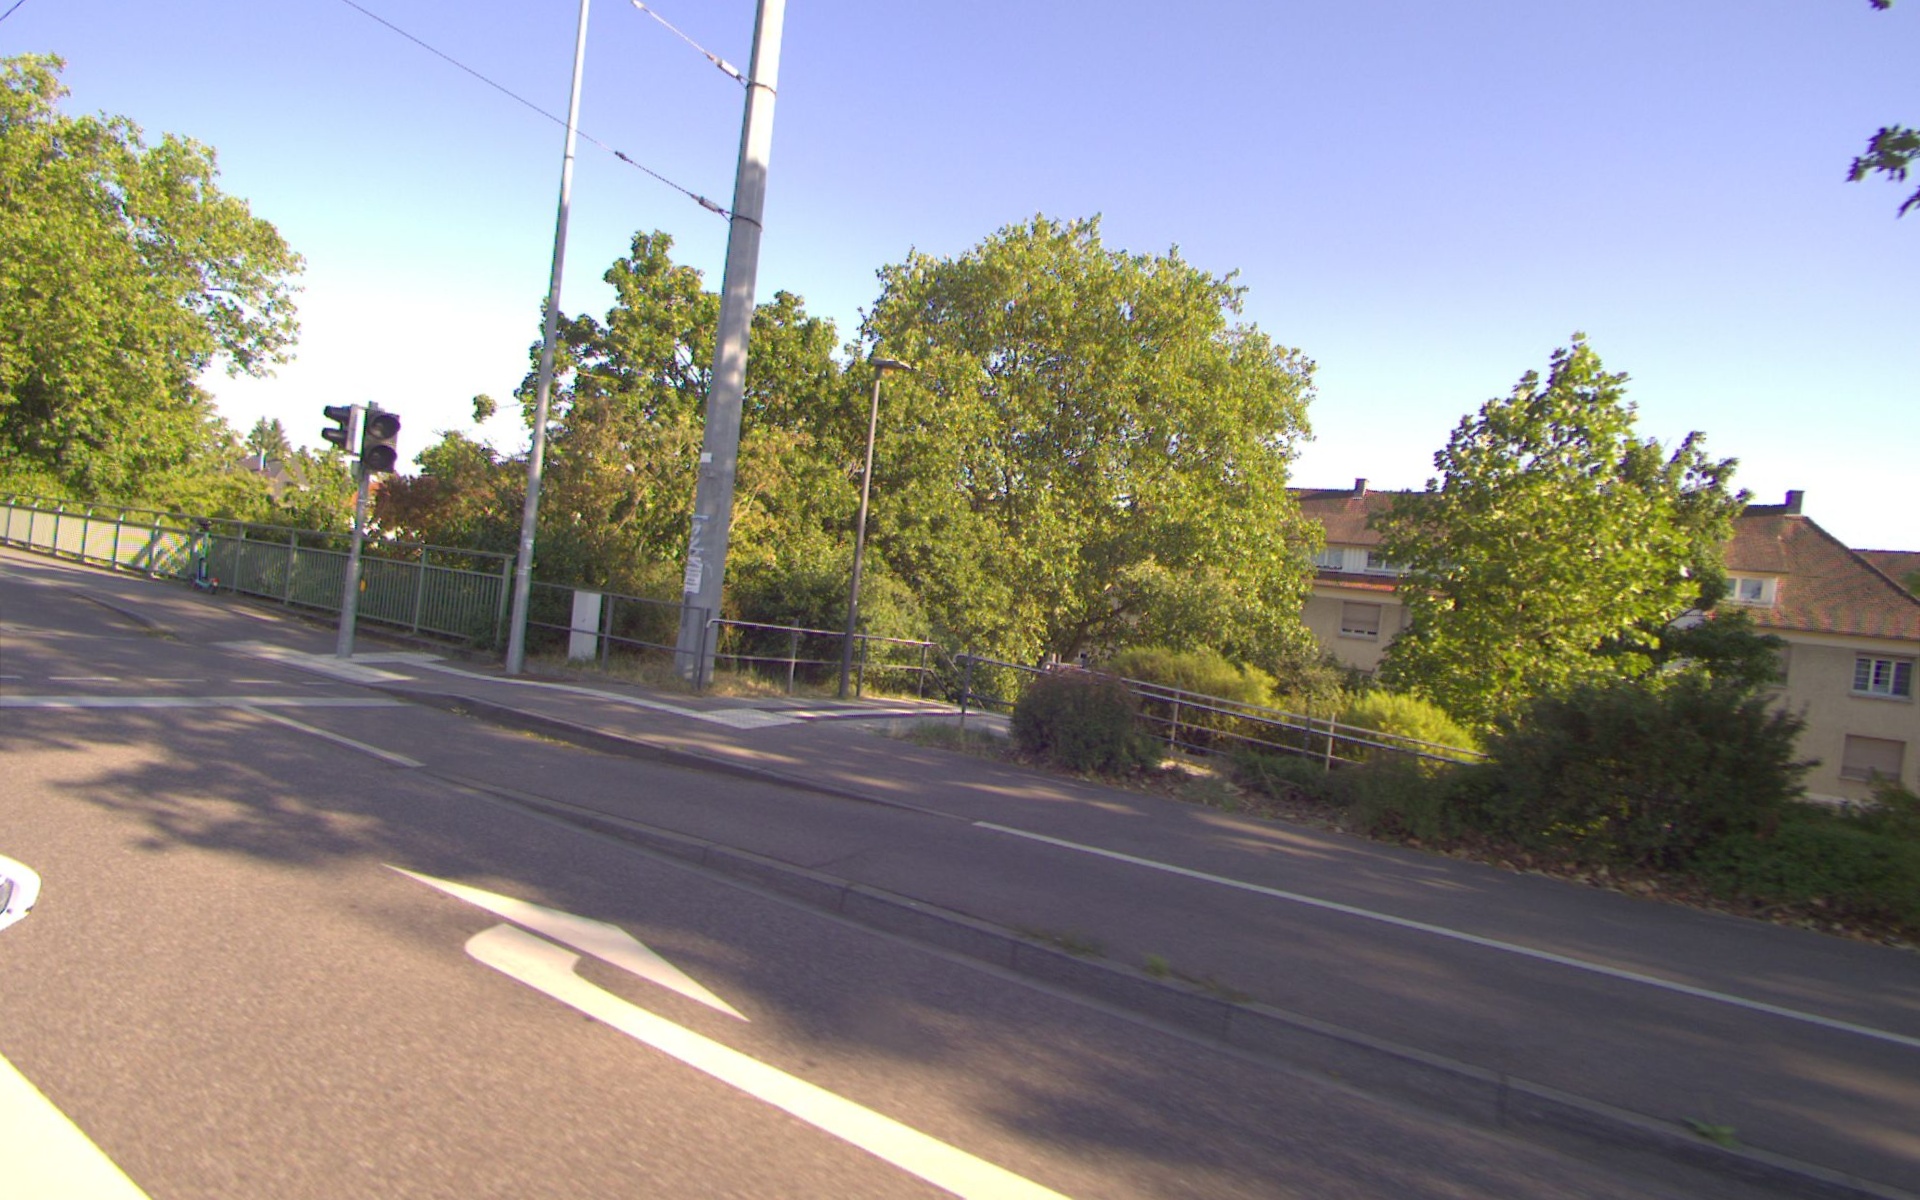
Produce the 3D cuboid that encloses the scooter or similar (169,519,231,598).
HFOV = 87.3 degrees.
[{"bbox_3d":[-13.525,-0.738,17.905,1.065,1.291,0.427,7,1,32],"label":"scooter or similar"}]
